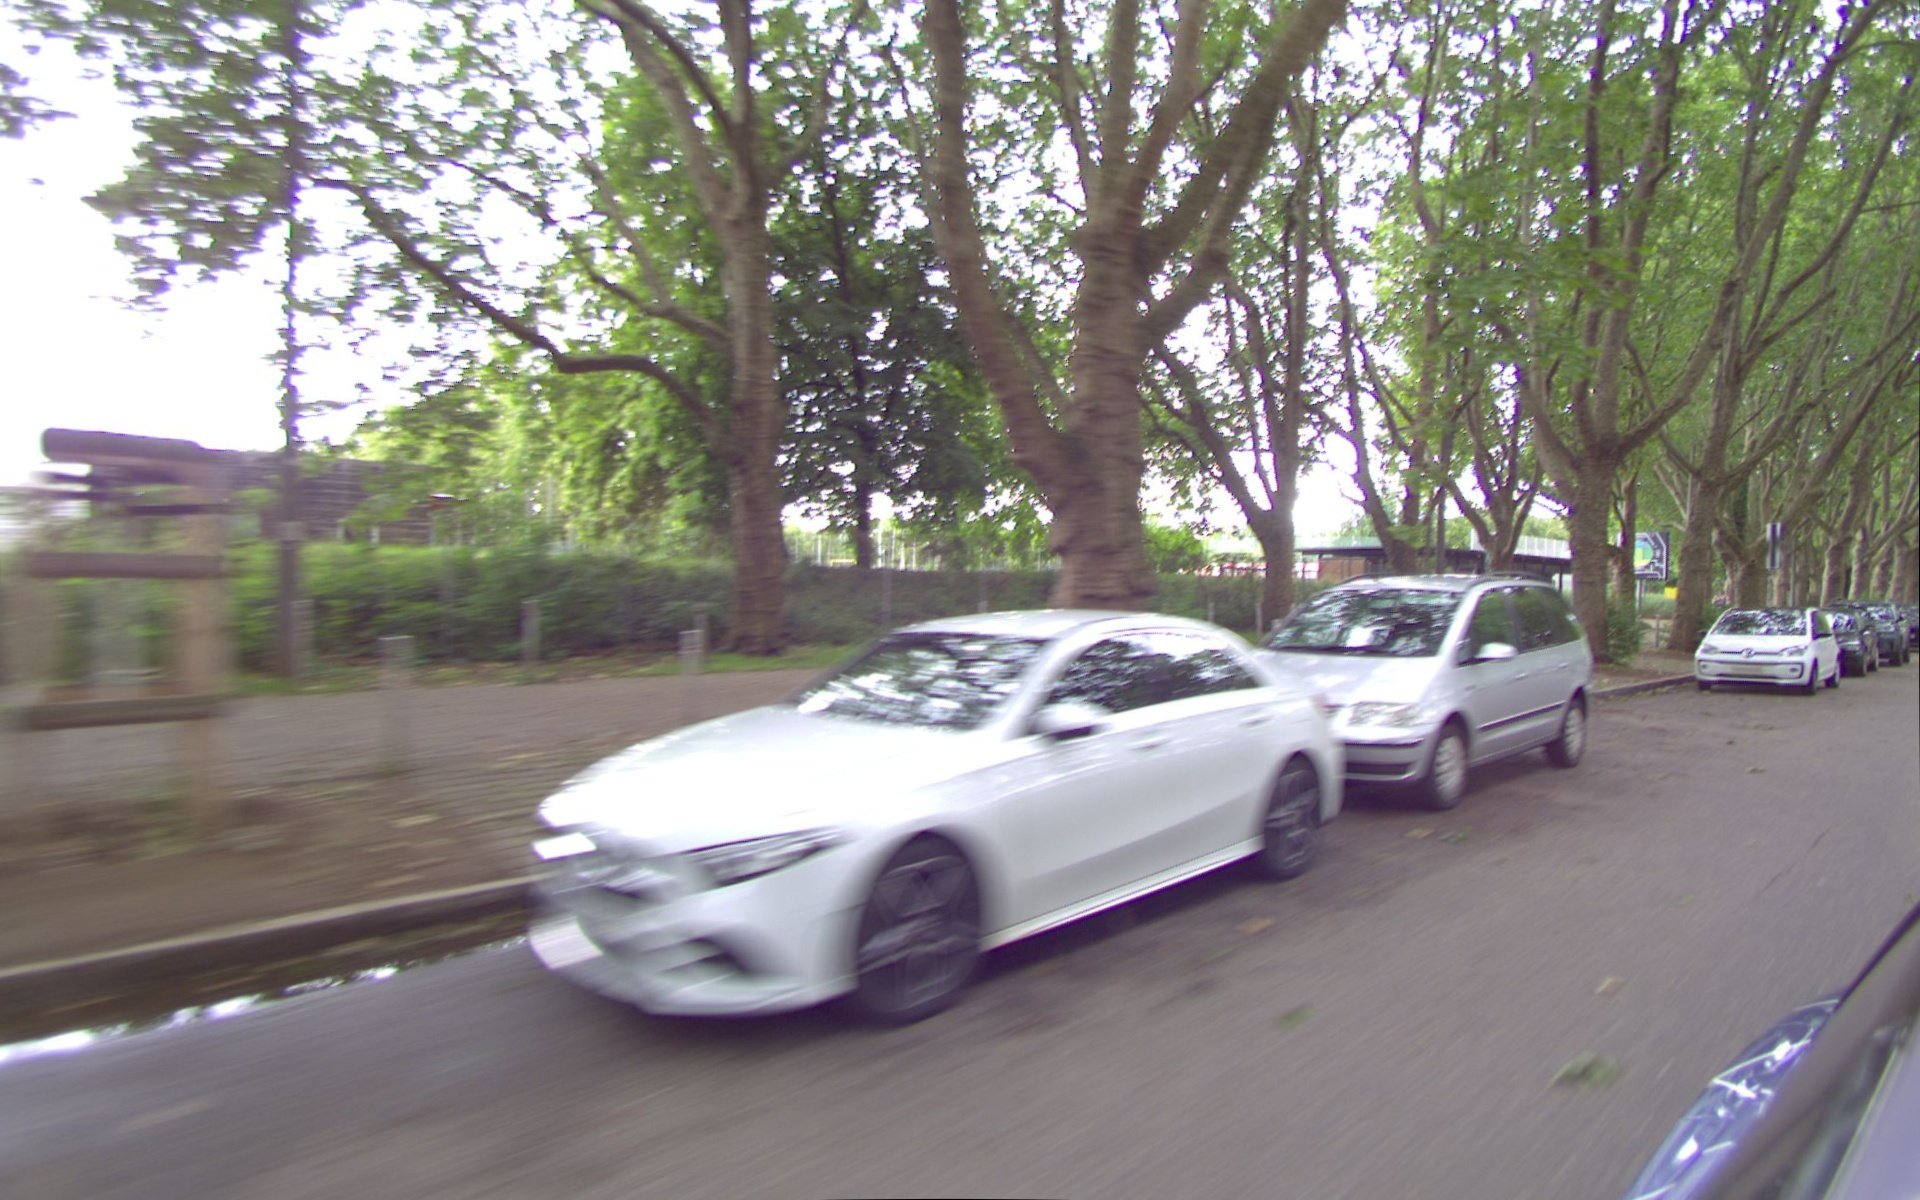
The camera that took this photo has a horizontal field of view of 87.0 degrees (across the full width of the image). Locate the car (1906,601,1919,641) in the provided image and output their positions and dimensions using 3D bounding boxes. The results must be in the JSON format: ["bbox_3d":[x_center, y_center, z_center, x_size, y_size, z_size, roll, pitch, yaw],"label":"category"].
[{"bbox_3d":[37.173,0.779,38.281,3.645,1.460,1.619,0,-1,-41],"label":"car"}]

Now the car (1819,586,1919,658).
[{"bbox_3d":[23.772,0.523,26.299,4.553,1.720,1.709,0,0,-43],"label":"car"}]

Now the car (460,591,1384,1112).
[{"bbox_3d":[0.182,0.707,5.094,4.508,1.445,1.880,0,1,-42],"label":"car"}]

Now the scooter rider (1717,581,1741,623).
[{"bbox_3d":[34.812,0.090,45.801,0.577,1.822,0.678,1,3,-41],"label":"scooter rider"}]

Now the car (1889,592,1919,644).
[{"bbox_3d":[33.372,0.610,34.755,4.559,1.694,1.780,0,1,-43],"label":"car"}]

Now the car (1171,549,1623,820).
[{"bbox_3d":[3.954,0.529,8.772,4.428,1.760,1.906,0,1,-42],"label":"car"}]

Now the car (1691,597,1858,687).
[{"bbox_3d":[14.557,0.669,18.026,3.822,1.445,1.710,0,0,-42],"label":"car"}]

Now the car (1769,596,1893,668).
[{"bbox_3d":[19.503,0.657,22.597,4.289,1.433,1.709,0,0,-44],"label":"car"}]
